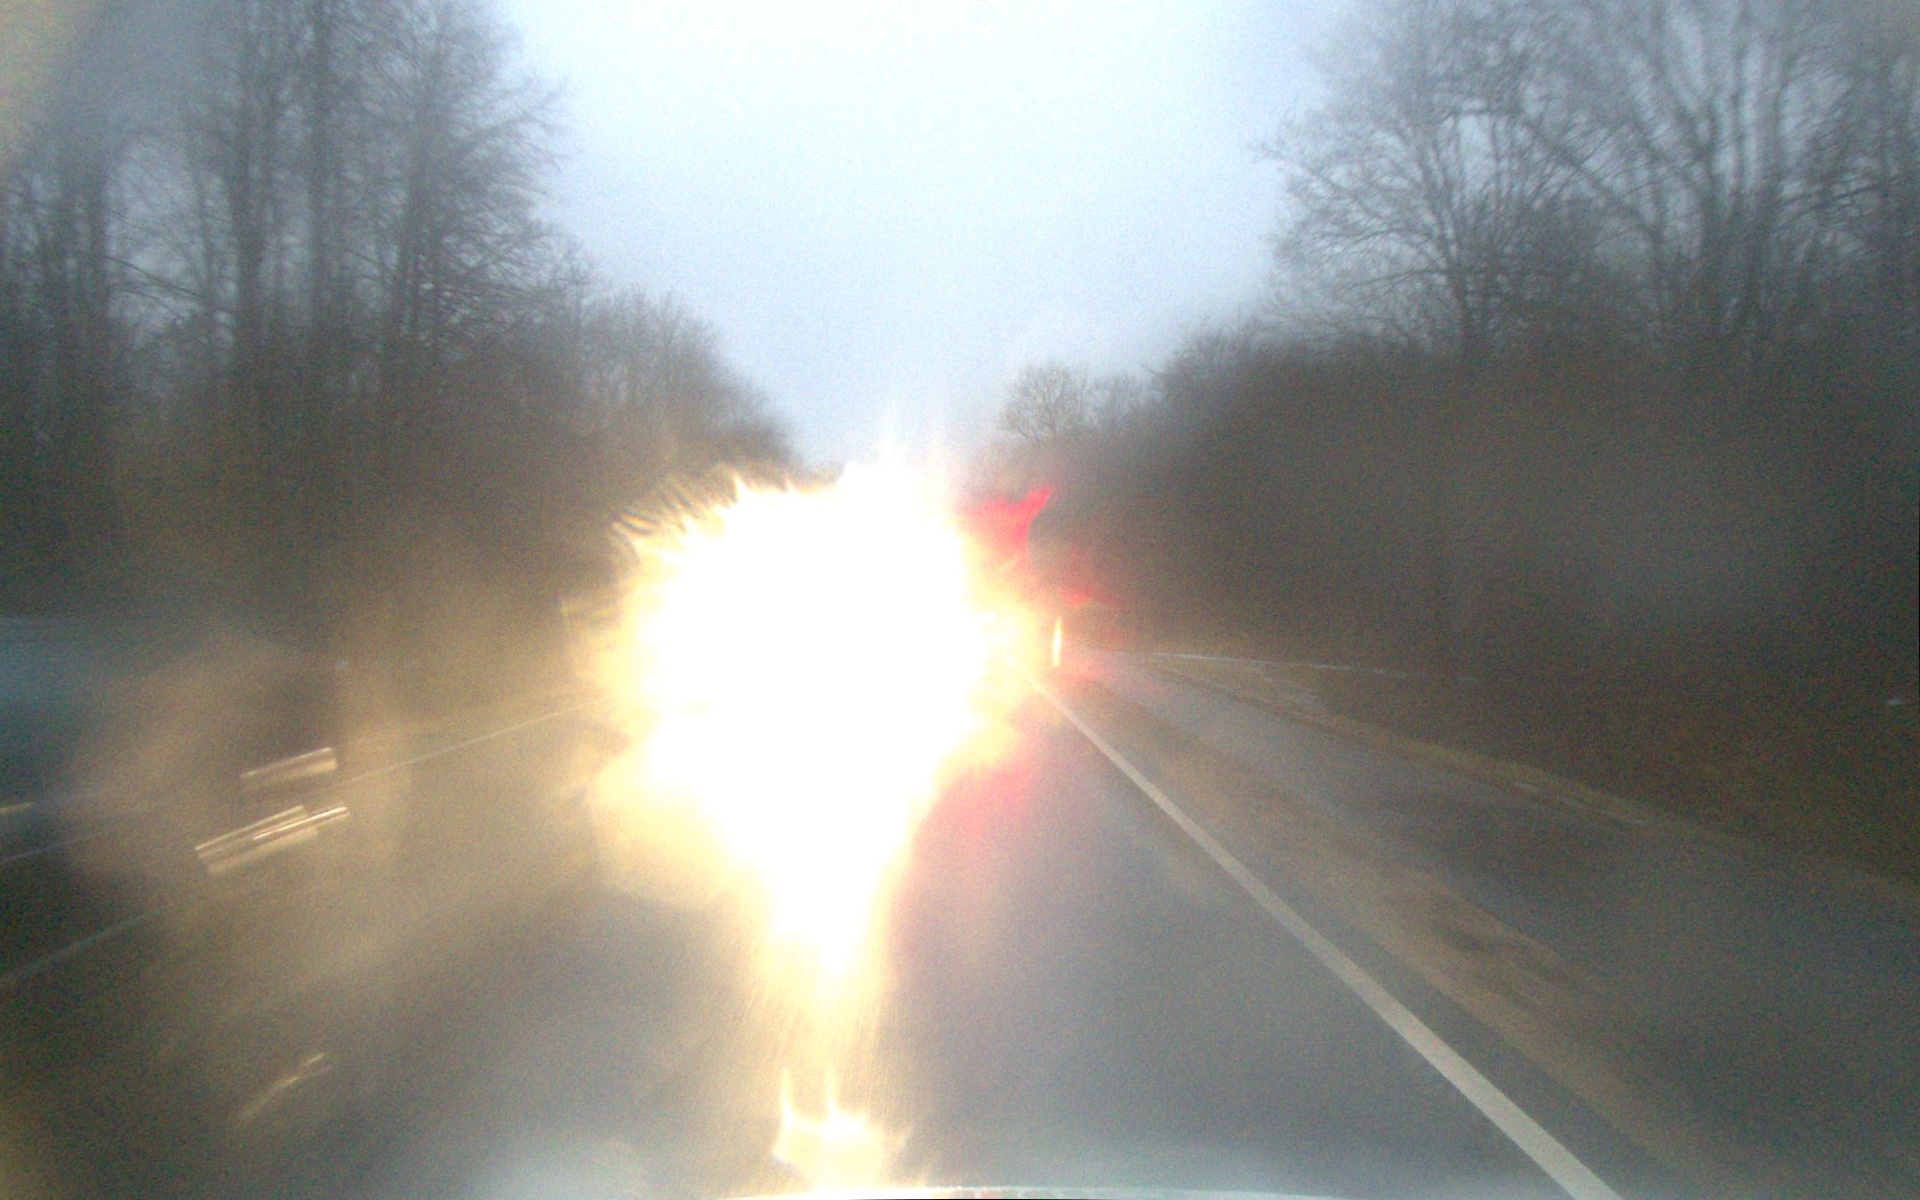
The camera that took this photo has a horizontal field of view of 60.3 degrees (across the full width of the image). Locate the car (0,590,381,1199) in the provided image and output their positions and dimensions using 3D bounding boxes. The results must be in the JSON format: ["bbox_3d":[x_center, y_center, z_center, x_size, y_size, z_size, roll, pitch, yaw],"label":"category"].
[{"bbox_3d":[-3.103,0.750,4.145,1.729,1.483,4.507,-2,0,-1],"label":"car"}]

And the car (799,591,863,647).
[{"bbox_3d":[-3.943,0.571,51.197,1.706,1.664,3.999,0,0,-1],"label":"car"}]

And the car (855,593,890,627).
[{"bbox_3d":[-4.289,0.474,81.287,1.549,1.578,3.999,-1,0,-1],"label":"car"}]
